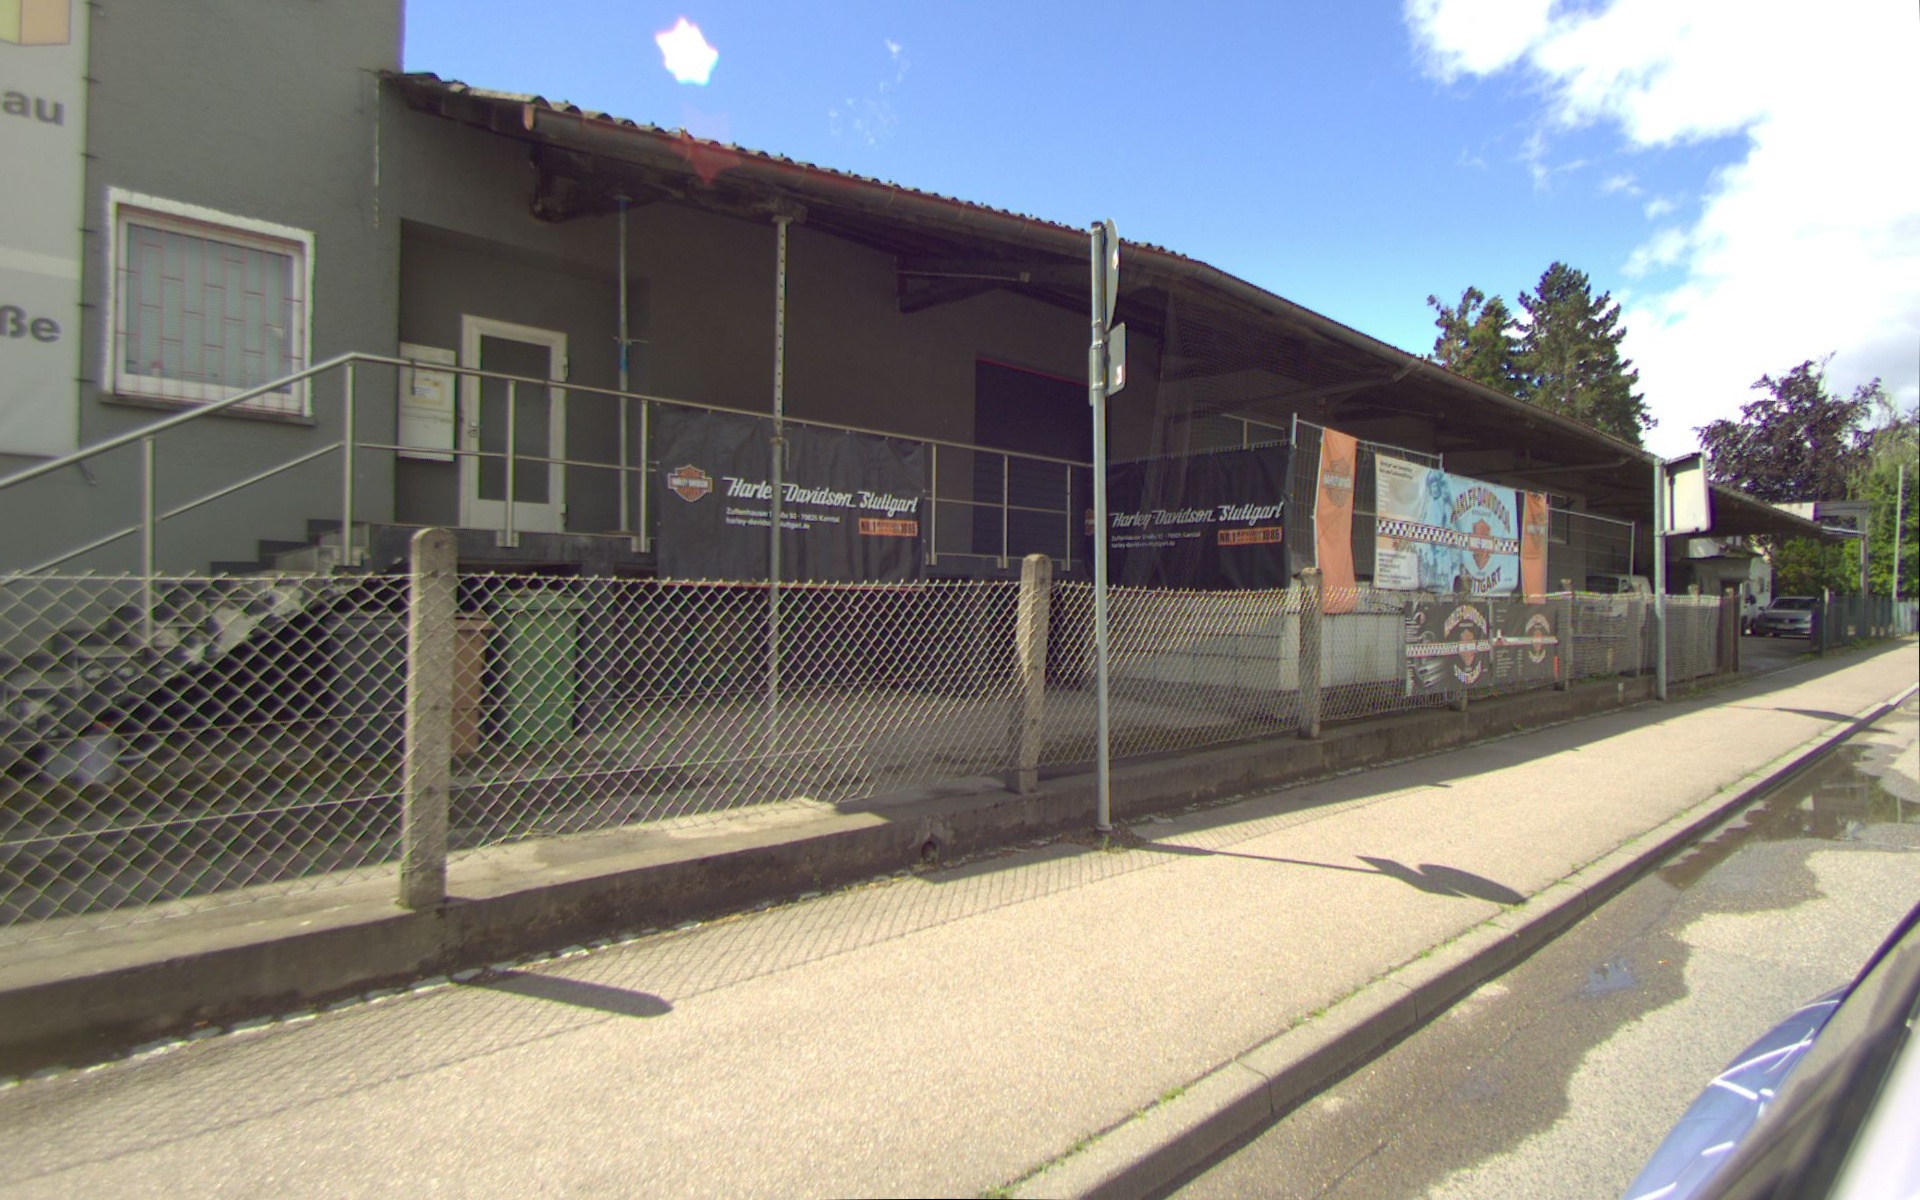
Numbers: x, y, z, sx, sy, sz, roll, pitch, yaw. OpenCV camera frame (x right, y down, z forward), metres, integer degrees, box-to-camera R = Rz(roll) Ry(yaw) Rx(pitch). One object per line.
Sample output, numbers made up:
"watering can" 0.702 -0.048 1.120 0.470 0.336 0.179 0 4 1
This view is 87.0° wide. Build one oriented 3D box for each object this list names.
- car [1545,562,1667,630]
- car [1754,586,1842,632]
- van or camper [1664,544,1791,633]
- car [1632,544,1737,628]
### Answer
"car" 19.796 -0.103 30.908 4.770 1.934 1.996 1 0 -43
"car" 29.581 0.307 35.654 4.842 1.508 1.766 1 0 -43
"van or camper" 29.607 -0.423 38.923 6.798 3.099 2.883 0 0 -44
"car" 25.151 -0.410 35.025 5.405 2.715 2.019 2 -1 -44
